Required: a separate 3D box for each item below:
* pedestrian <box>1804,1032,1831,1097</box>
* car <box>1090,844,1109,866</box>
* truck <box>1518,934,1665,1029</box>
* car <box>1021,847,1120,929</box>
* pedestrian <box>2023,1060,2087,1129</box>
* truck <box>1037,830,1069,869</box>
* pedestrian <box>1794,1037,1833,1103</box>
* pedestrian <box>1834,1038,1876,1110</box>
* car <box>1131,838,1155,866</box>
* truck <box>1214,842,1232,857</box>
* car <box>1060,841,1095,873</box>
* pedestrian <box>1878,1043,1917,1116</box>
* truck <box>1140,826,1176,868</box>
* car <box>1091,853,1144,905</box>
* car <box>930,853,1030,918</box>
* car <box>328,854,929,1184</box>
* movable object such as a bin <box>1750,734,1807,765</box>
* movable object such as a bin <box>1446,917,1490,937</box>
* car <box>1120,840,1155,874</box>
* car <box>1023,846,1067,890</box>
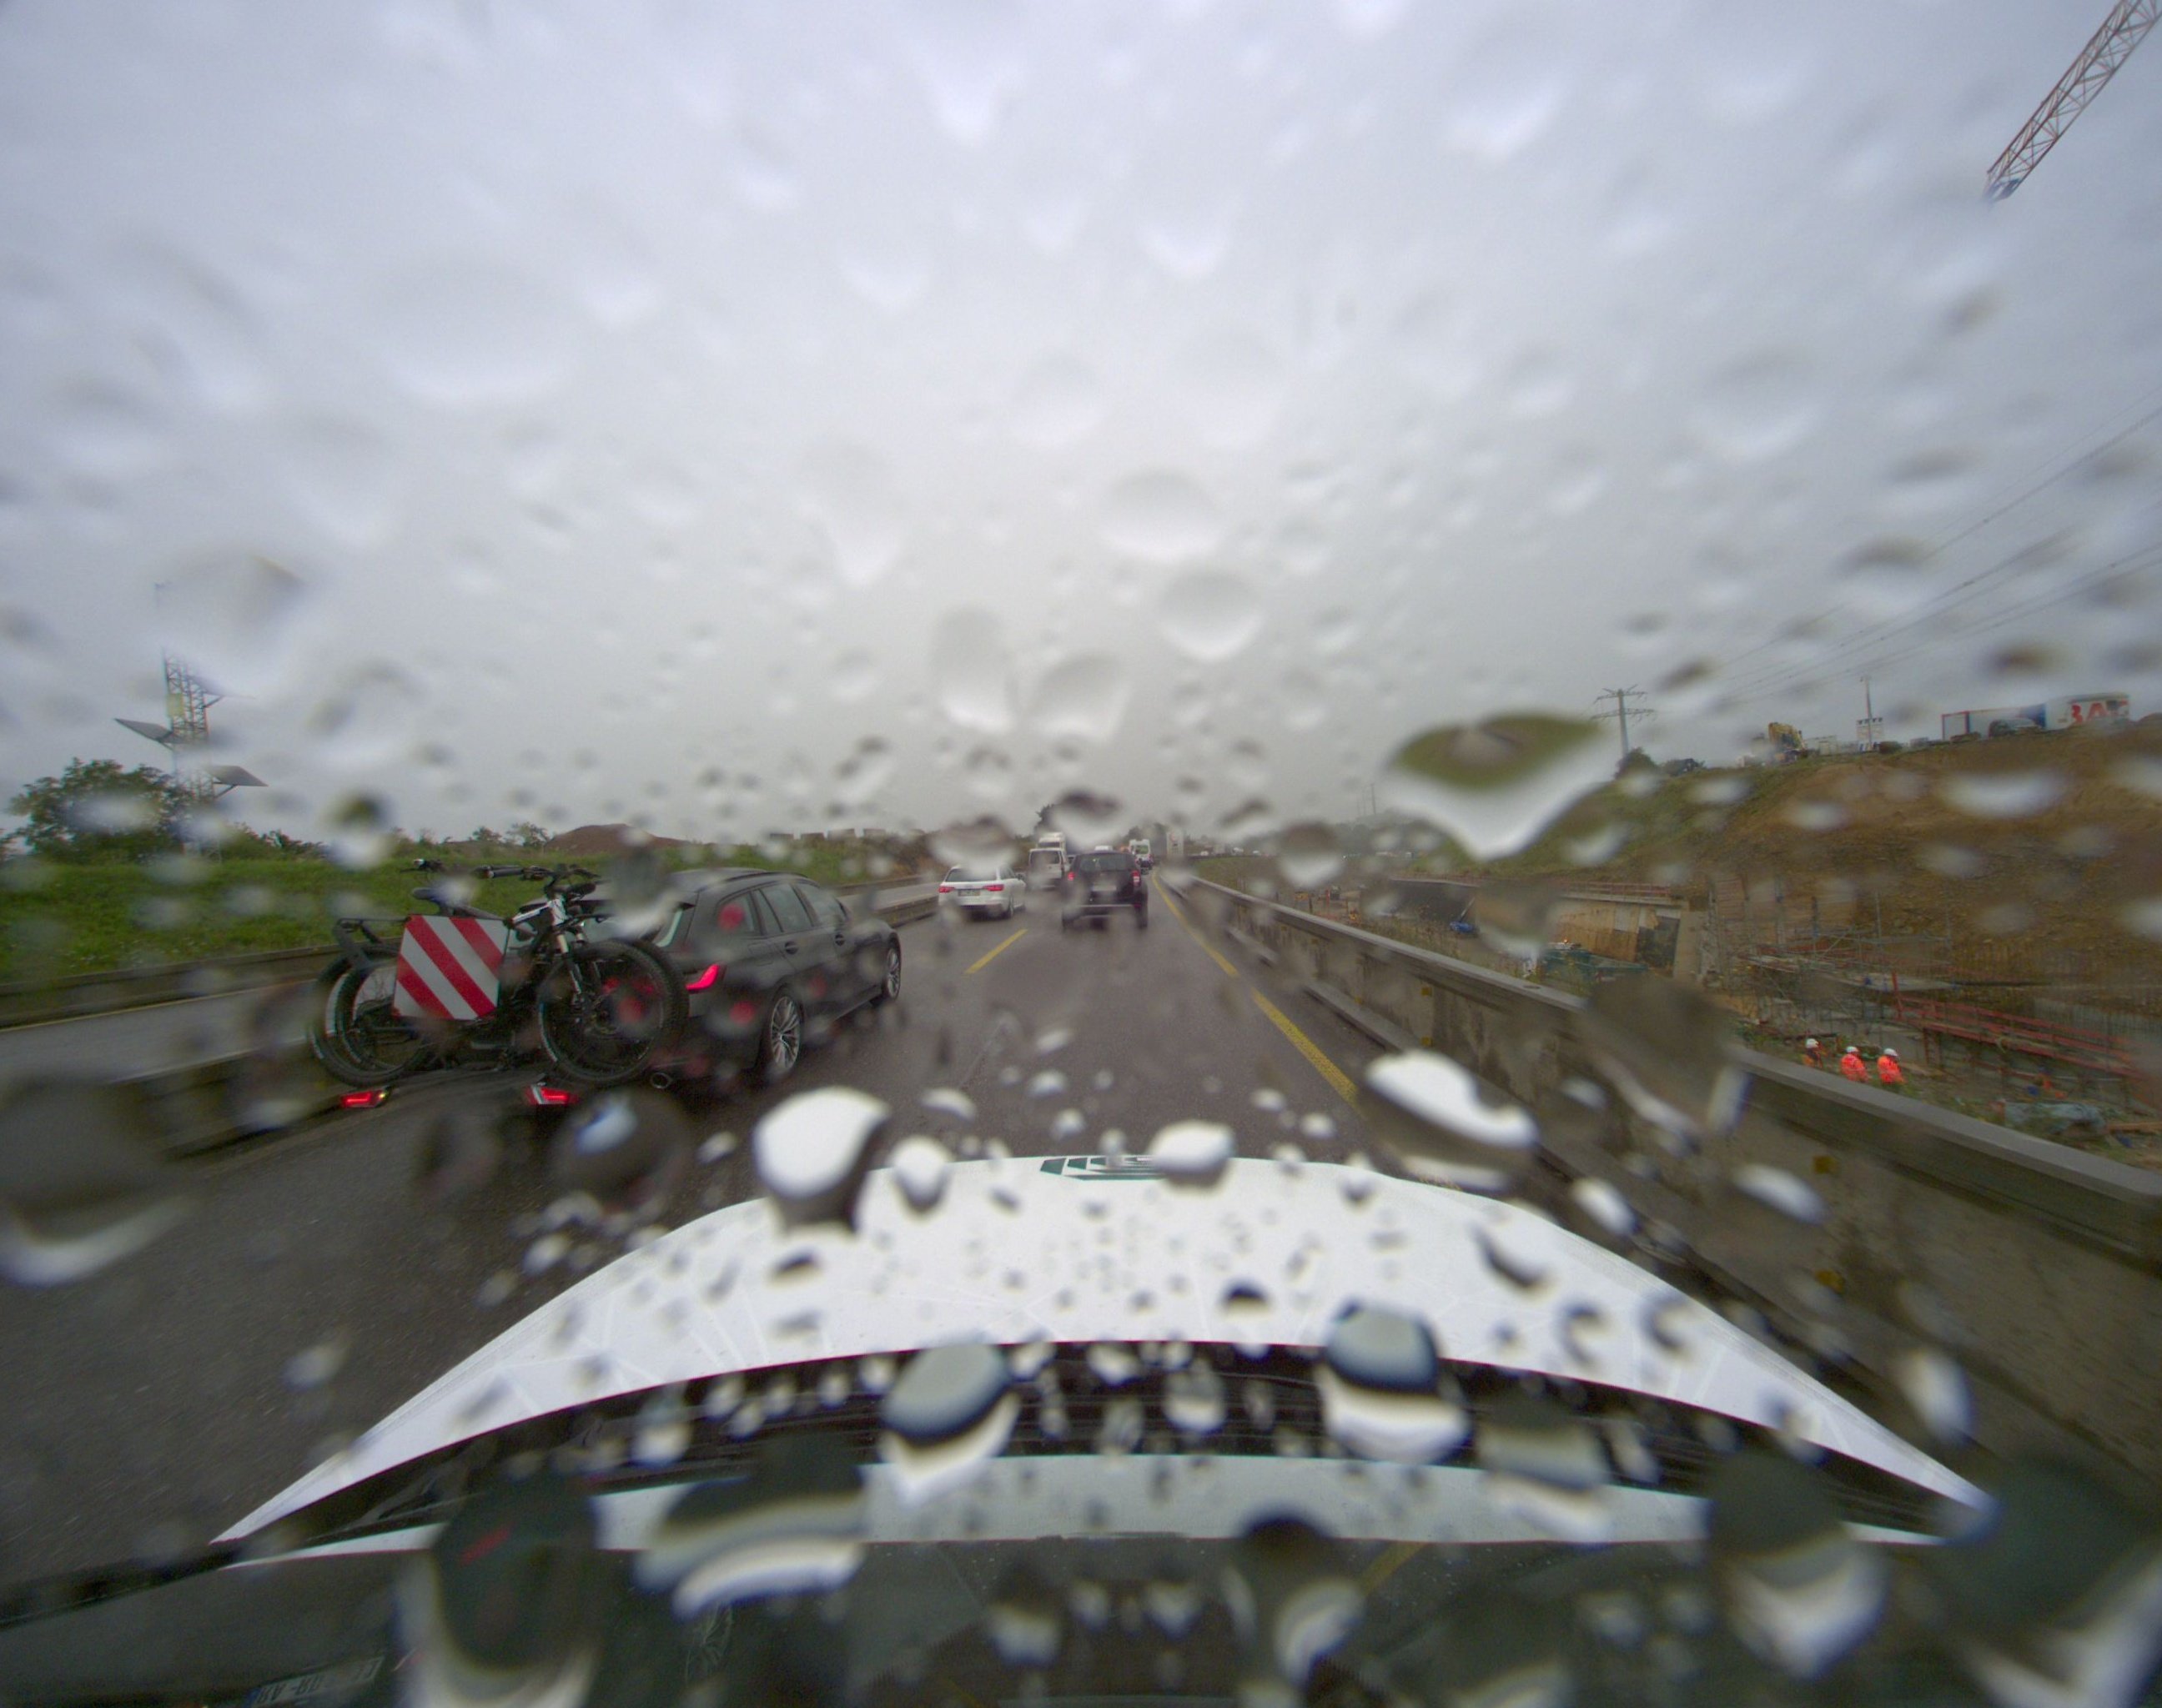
[{"bbox_3d":[23.890,6.825,26.421,0.568,1.869,0.740,-2,-1,39],"label":"pedestrian"},{"bbox_3d":[2.334,0.086,101.110,1.997,2.653,6.892,-1,1,4],"label":"car"},{"bbox_3d":[25.473,6.199,41.321,2.715,3.491,9.083,-1,-1,7],"label":"truck"},{"bbox_3d":[-0.111,0.702,18.178,1.818,1.591,4.005,-1,-1,4],"label":"car"},{"bbox_3d":[34.047,8.387,28.474,0.892,1.999,0.907,9,0,6],"label":"pedestrian"},{"bbox_3d":[-2.938,-0.472,87.536,2.776,4.034,5.825,-1,1,3],"label":"truck"},{"bbox_3d":[23.179,6.830,25.789,0.570,1.869,0.737,-1,-1,9],"label":"pedestrian"},{"bbox_3d":[23.697,6.712,24.934,0.576,1.944,0.729,-1,-1,-25],"label":"pedestrian"},{"bbox_3d":[5.757,-0.174,75.260,1.815,2.437,4.170,-1,-1,10],"label":"car"},{"bbox_3d":[38.654,-1.244,221.350,3.444,3.715,8.458,-2,0,19],"label":"truck"},{"bbox_3d":[-0.176,0.213,49.525,1.818,1.815,4.004,-1,-1,4],"label":"car"},{"bbox_3d":[24.301,6.692,24.245,0.726,1.944,0.579,-2,-1,40],"label":"pedestrian"},{"bbox_3d":[9.968,-0.811,103.982,3.521,5.077,10.471,-1,-1,10],"label":"truck"},{"bbox_3d":[1.344,0.910,30.687,1.819,1.815,4.001,-1,-1,1],"label":"car"},{"bbox_3d":[-2.523,0.768,21.284,1.818,1.499,4.004,-1,-1,4],"label":"car"},{"bbox_3d":[-2.779,0.827,6.869,1.728,1.462,5.632,-1,1,2],"label":"car"},{"bbox_3d":[66.111,-9.866,77.281,2.414,2.443,3.981,-1,1,10],"label":"movable object such as a bin"},{"bbox_3d":[42.364,8.010,89.176,2.008,2.014,3.800,2,-4,-34],"label":"movable object such as a bin"},{"bbox_3d":[3.282,0.186,47.052,1.817,1.815,4.007,-1,-1,6],"label":"car"},{"bbox_3d":[-1.558,0.614,36.436,1.821,1.815,3.998,-1,-1,-1],"label":"car"}]
